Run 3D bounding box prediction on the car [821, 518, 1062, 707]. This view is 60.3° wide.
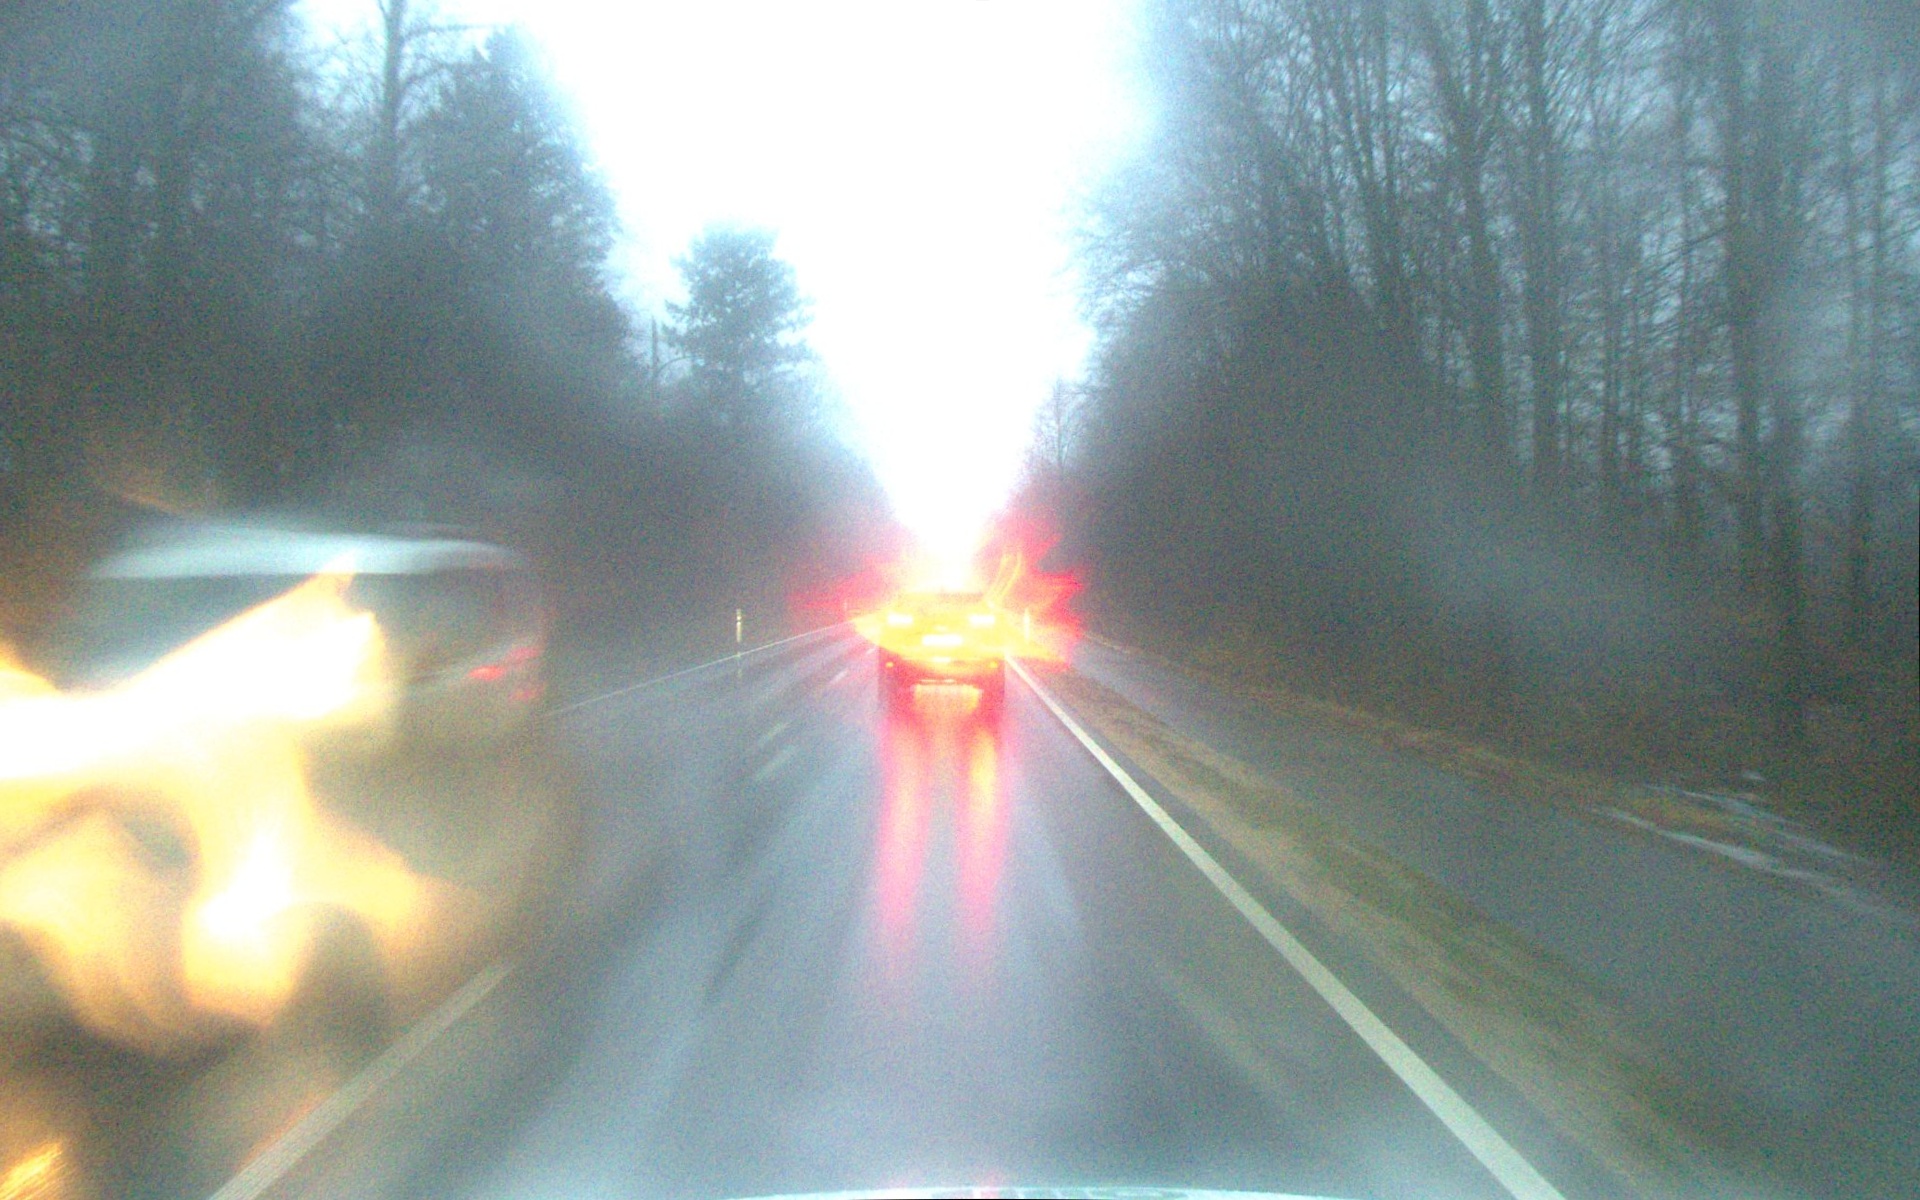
[{"bbox_3d":[-0.259,0.145,24.924,3.118,2.428,6.636,1,0,0],"label":"car"}]

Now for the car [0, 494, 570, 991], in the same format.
[{"bbox_3d":[-3.451,0.559,8.714,1.760,1.914,4.424,-2,0,-1],"label":"car"}]
